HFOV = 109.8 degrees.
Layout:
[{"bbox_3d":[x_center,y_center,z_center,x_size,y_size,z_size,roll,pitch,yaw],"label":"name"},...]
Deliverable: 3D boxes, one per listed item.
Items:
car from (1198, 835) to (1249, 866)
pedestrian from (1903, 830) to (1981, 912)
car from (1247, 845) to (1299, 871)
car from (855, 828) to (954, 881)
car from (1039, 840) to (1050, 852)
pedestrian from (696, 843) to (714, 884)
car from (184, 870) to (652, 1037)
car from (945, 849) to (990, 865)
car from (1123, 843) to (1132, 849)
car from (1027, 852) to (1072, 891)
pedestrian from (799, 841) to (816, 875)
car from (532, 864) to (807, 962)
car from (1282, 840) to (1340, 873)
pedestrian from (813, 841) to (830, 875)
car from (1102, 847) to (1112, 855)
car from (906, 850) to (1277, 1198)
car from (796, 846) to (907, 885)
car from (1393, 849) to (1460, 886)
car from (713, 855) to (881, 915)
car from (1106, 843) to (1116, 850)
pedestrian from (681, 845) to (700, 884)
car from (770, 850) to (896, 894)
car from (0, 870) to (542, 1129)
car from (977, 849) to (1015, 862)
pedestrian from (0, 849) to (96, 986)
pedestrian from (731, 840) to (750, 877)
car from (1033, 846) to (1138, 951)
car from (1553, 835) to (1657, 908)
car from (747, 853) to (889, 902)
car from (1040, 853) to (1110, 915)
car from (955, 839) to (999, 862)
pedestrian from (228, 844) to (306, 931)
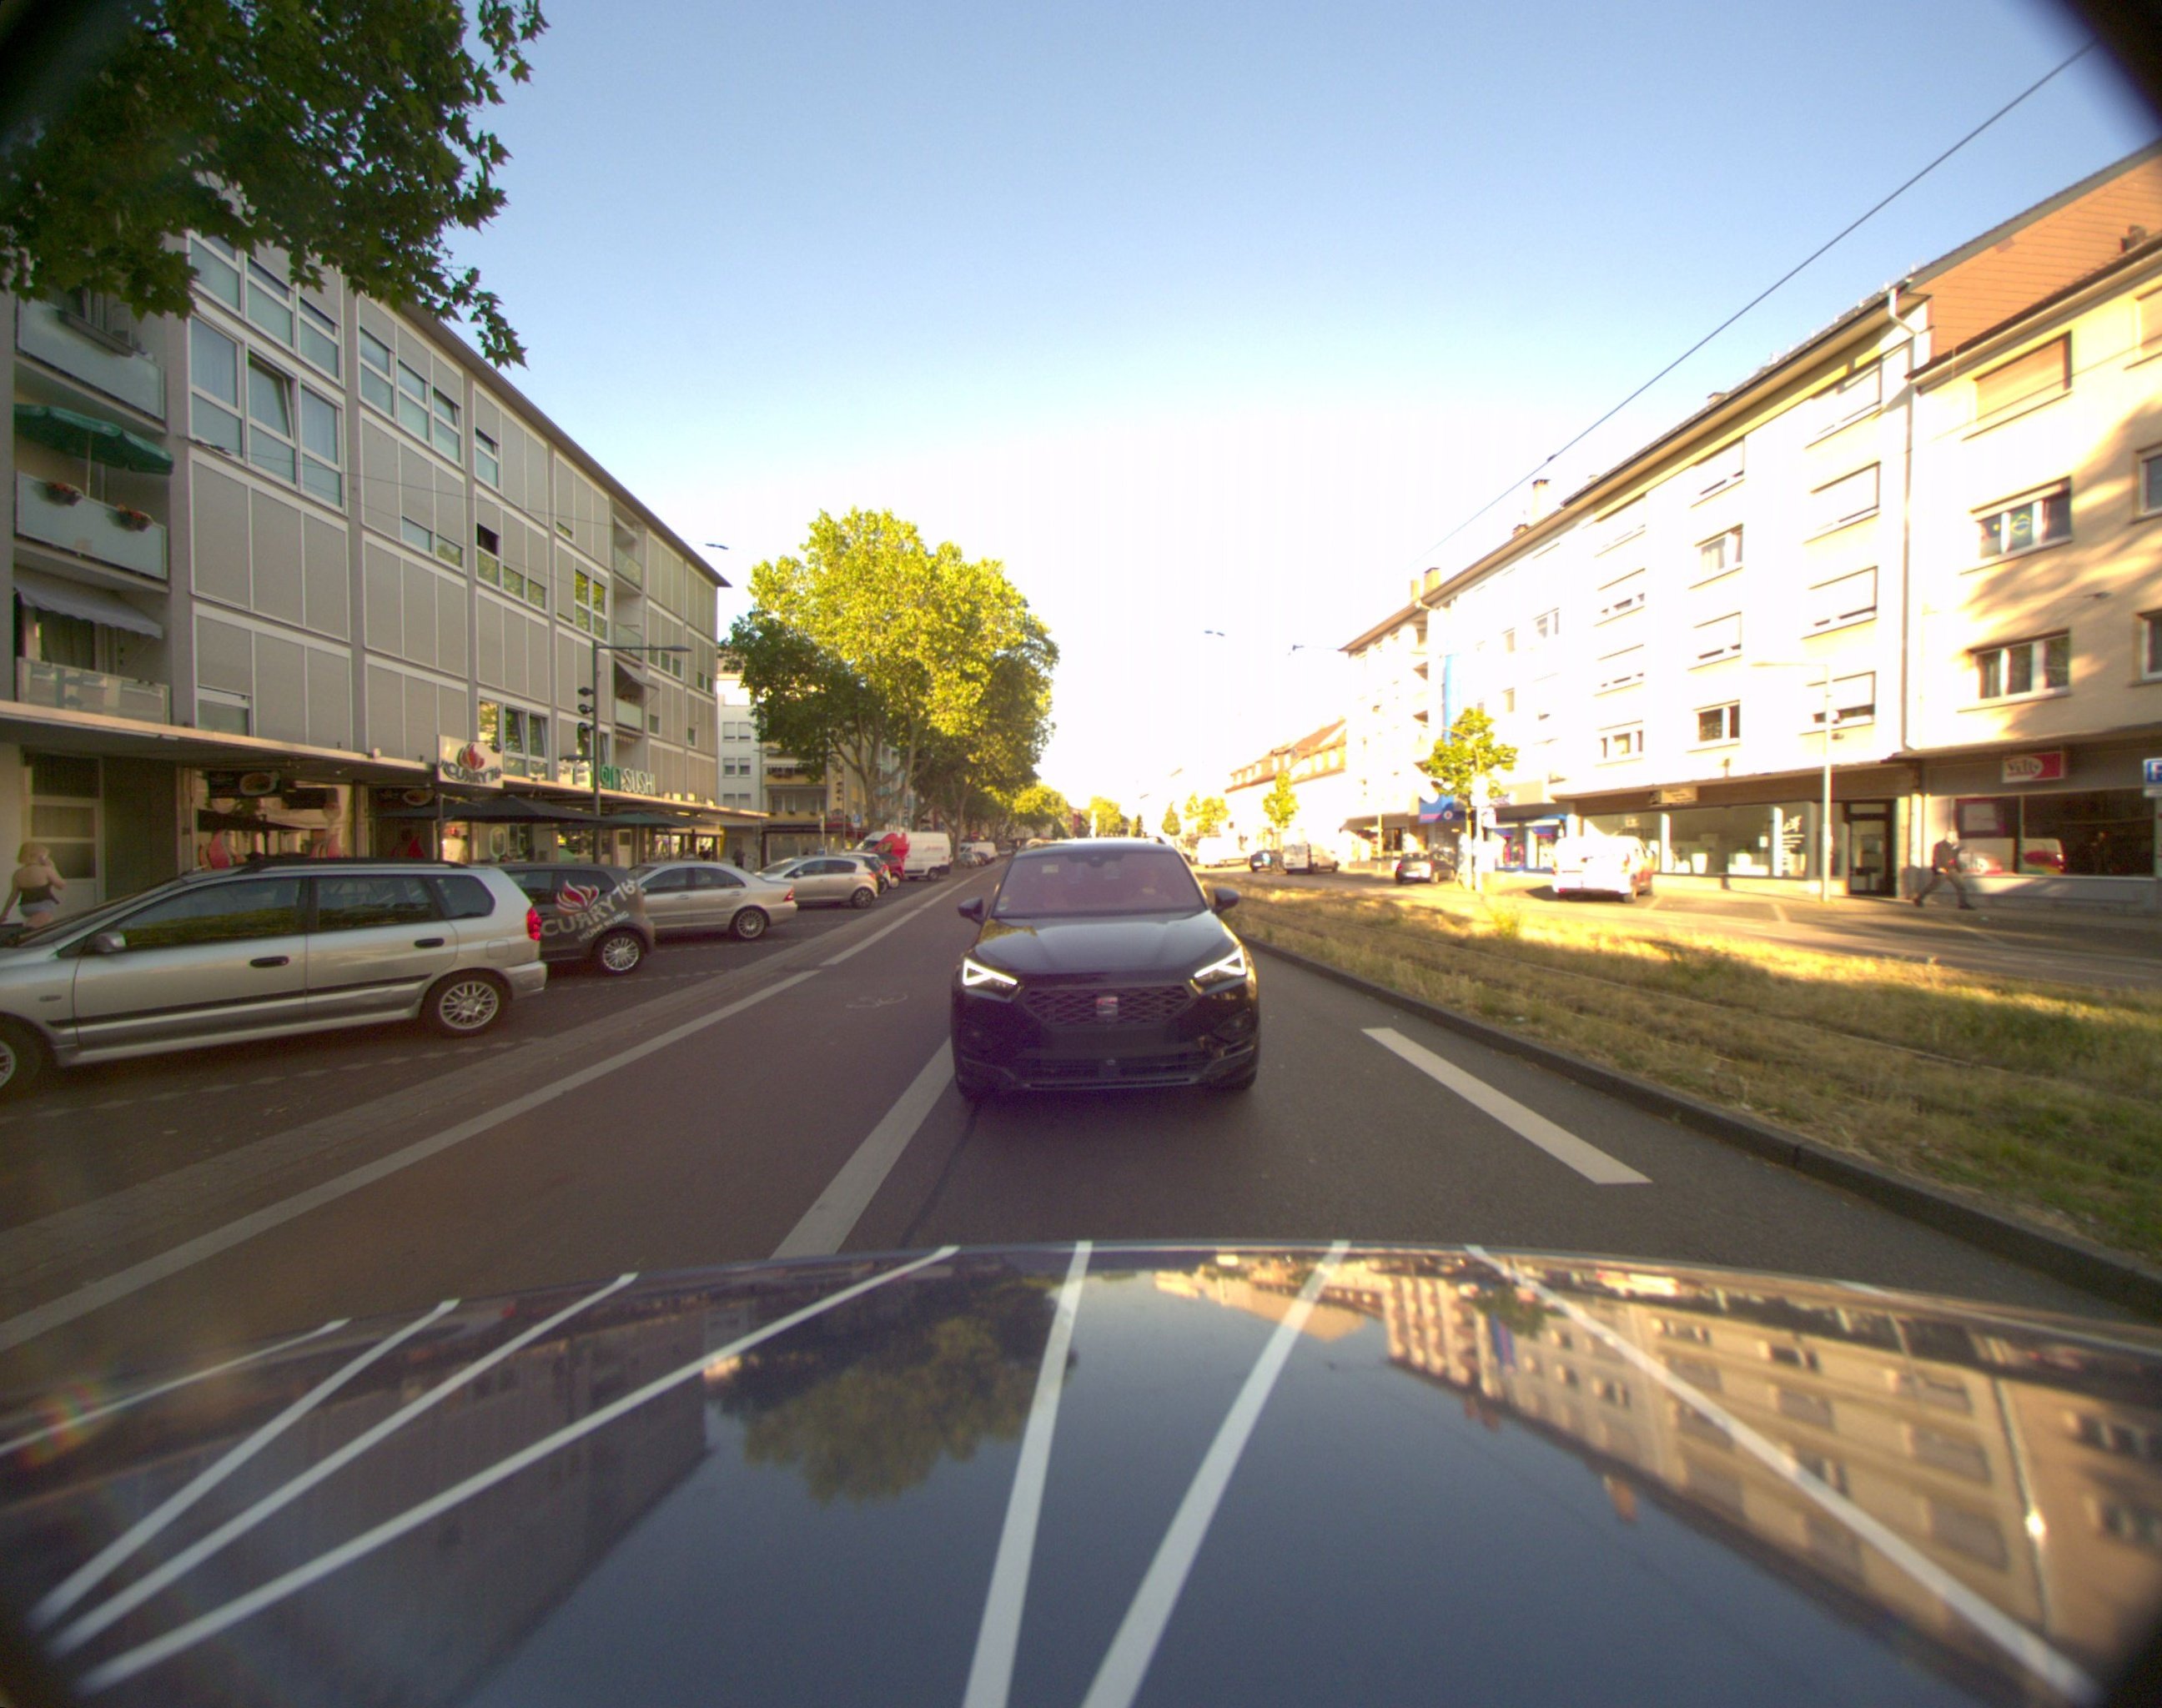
[{"bbox_3d":[12.946,-0.367,68.638,1.922,2.599,6.601,-1,1,34],"label":"car"},{"bbox_3d":[19.784,0.378,17.473,0.757,1.817,0.917,-1,1,1],"label":"pedestrian"},{"bbox_3d":[13.797,0.238,54.520,3.922,1.704,1.853,-2,1,-45],"label":"car"},{"bbox_3d":[-8.733,0.053,37.871,4.606,2.479,1.672,0,0,-44],"label":"car"},{"bbox_3d":[-9.119,-2.022,190.424,2.660,2.989,7.131,-2,1,-2],"label":"car"},{"bbox_3d":[-15.693,0.392,31.711,0.545,1.710,0.457,0,1,-4],"label":"pedestrian"},{"bbox_3d":[-7.575,0.962,9.044,1.672,1.420,3.950,2,1,38],"label":"car"},{"bbox_3d":[-10.834,0.278,72.843,1.778,1.396,3.943,1,1,44],"label":"car"},{"bbox_3d":[15.370,-2.592,251.697,2.496,1.871,5.277,0,1,9],"label":"car"},{"bbox_3d":[-1.258,0.671,32.083,1.729,1.443,4.227,-2,1,-1],"label":"car"},{"bbox_3d":[-15.912,0.233,44.233,0.748,1.964,0.575,0,1,-4],"label":"pedestrian"},{"bbox_3d":[-7.083,0.912,13.393,1.592,1.393,3.950,2,1,41],"label":"car"},{"bbox_3d":[14.539,0.106,47.851,1.853,1.927,4.513,-1,1,40],"label":"car"},{"bbox_3d":[-15.100,0.233,44.194,0.748,2.002,0.764,0,1,-4],"label":"pedestrian"},{"bbox_3d":[5.158,-0.691,151.005,1.846,1.571,4.449,0,1,-1],"label":"car"},{"bbox_3d":[0.079,0.839,5.779,1.785,1.639,3.999,-2,1,1],"label":"car"},{"bbox_3d":[-9.206,0.458,30.566,3.948,1.421,1.672,1,2,-32],"label":"car"},{"bbox_3d":[15.456,0.562,33.873,1.731,1.489,4.008,-1,1,40],"label":"car"},{"bbox_3d":[-7.570,0.786,20.501,3.950,1.420,1.555,1,1,-45],"label":"car"},{"bbox_3d":[7.478,-1.914,191.286,1.999,1.783,3.998,0,1,-4],"label":"car"},{"bbox_3d":[-16.262,0.423,31.666,0.537,1.630,0.478,0,1,-4],"label":"pedestrian"},{"bbox_3d":[-8.860,0.640,27.190,3.948,1.421,1.672,2,2,-32],"label":"car"},{"bbox_3d":[-6.897,0.950,5.997,1.672,1.533,3.993,2,1,38],"label":"car"},{"bbox_3d":[-9.255,0.161,82.765,1.778,1.326,3.943,1,1,44],"label":"car"},{"bbox_3d":[-12.443,0.731,9.037,0.561,1.567,0.642,0,1,-5],"label":"pedestrian"},{"bbox_3d":[-18.257,0.234,40.757,0.748,2.002,0.559,0,1,-4],"label":"pedestrian"},{"bbox_3d":[0.055,0.704,14.370,1.646,1.646,3.999,-2,1,-1],"label":"car"},{"bbox_3d":[15.619,0.447,22.574,1.853,1.888,4.007,-1,2,44],"label":"car"},{"bbox_3d":[-8.316,0.724,24.115,3.949,1.420,1.672,1,1,-34],"label":"car"},{"bbox_3d":[-0.171,0.765,21.352,1.729,1.467,3.999,-2,1,-1],"label":"car"},{"bbox_3d":[-11.667,-0.418,85.101,1.973,2.454,4.605,1,1,44],"label":"car"},{"bbox_3d":[-15.142,0.606,14.155,0.583,1.573,0.771,0,1,2],"label":"pedestrian"}]
